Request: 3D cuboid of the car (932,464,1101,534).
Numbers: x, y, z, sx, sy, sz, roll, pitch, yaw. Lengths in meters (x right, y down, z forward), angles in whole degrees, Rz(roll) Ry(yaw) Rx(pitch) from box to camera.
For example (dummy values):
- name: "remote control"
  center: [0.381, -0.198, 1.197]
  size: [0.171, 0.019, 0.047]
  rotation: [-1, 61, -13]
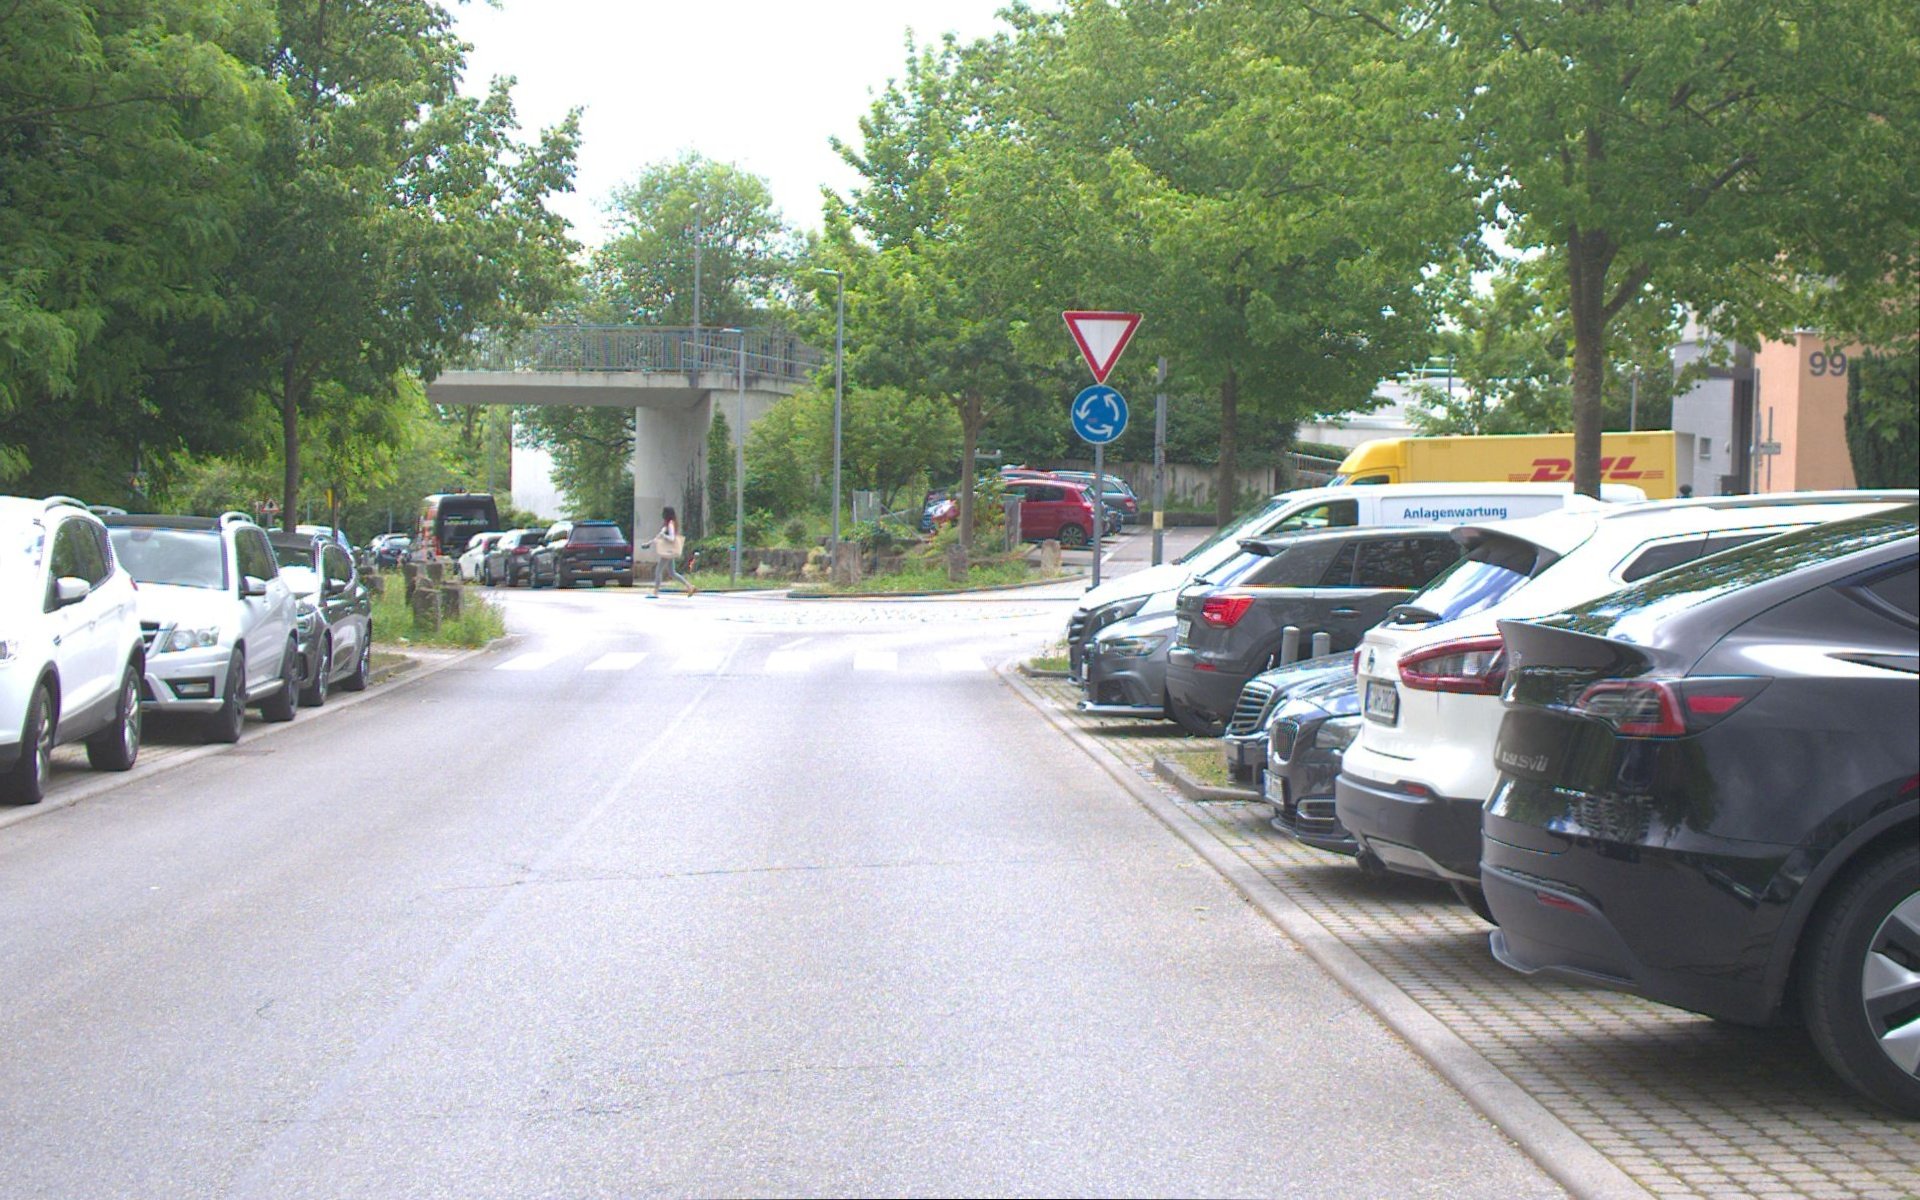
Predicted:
- name: "car"
  center: [1.365, -2.423, 82.710]
  size: [3.987, 1.608, 1.945]
  rotation: [1, 2, 2]

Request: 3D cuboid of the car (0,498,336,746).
- name: "car"
  center: [-6.024, 0.086, 26.023]
  size: [1.799, 1.610, 4.479]
  rotation: [4, 2, -1]

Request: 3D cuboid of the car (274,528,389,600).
- name: "car"
  center: [-13.828, -0.810, 75.525]
  size: [1.785, 1.463, 4.001]
  rotation: [0, 2, -21]

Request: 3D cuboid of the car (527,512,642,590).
- name: "car"
  center: [-9.232, -1.183, 84.269]
  size: [1.813, 1.673, 4.371]
  rotation: [-1, -2, -19]

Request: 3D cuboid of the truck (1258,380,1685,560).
- name: "truck"
  center: [8.592, -2.170, 58.297]
  size: [6.802, 2.693, 2.474]
  rotation: [2, 0, 1]

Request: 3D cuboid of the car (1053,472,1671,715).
- name: "car"
  center: [3.251, -0.077, 28.368]
  size: [4.773, 1.825, 1.843]
  rotation: [-1, 1, -3]

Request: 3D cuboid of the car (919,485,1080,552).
- name: "car"
  center: [0.938, -1.913, 80.391]
  size: [3.650, 1.493, 1.684]
  rotation: [1, 2, 4]

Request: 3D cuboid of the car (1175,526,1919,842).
- name: "car"
  center: [3.518, 0.376, 17.511]
  size: [4.574, 1.487, 1.952]
  rotation: [0, 1, -6]

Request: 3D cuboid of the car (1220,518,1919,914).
- name: "car"
  center: [3.126, 0.453, 14.528]
  size: [3.988, 1.514, 1.883]
  rotation: [1, 1, 5]

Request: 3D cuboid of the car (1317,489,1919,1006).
- name: "car"
  center: [3.157, 0.451, 11.864]
  size: [3.670, 1.641, 1.852]
  rotation: [0, 1, 1]

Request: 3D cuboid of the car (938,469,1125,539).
- name: "car"
  center: [1.783, -2.382, 85.283]
  size: [4.543, 1.662, 1.945]
  rotation: [1, 2, 2]

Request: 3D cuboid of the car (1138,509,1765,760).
- name: "car"
  center: [3.225, 0.200, 23.073]
  size: [3.824, 1.514, 1.912]
  rotation: [-1, 1, -4]

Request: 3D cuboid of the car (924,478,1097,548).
- name: "car"
  center: [1.123, -1.908, 75.246]
  size: [3.650, 1.434, 1.684]
  rotation: [1, 2, 4]

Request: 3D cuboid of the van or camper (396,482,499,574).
- name: "van or camper"
  center: [-15.116, -2.089, 101.167]
  size: [1.993, 2.514, 5.472]
  rotation: [-2, 1, -18]

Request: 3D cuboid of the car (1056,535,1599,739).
- name: "car"
  center: [2.653, 0.251, 25.510]
  size: [3.824, 1.366, 1.843]
  rotation: [-1, 1, 1]

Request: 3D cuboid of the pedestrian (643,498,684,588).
- name: "pedestrian"
  center: [-5.717, -1.095, 66.345]
  size: [0.658, 1.716, 0.739]
  rotation: [1, 1, 5]

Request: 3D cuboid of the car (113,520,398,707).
- name: "car"
  center: [-6.310, 0.064, 31.252]
  size: [1.689, 1.460, 4.457]
  rotation: [4, 1, -1]

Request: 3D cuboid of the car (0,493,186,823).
- name: "car"
  center: [-5.925, 0.220, 20.076]
  size: [1.807, 1.659, 4.437]
  rotation: [4, 2, -1]

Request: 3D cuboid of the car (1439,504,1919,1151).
- name: "car"
  center: [3.215, 0.538, 9.117]
  size: [3.670, 1.569, 1.593]
  rotation: [0, 1, 1]

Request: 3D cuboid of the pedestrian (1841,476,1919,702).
- name: "pedestrian"
  center: [6.980, -0.089, 25.493]
  size: [0.688, 1.651, 0.600]
  rotation: [1, 1, -2]

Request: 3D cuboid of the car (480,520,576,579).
- name: "car"
  center: [-11.396, -1.318, 90.454]
  size: [1.699, 1.491, 4.120]
  rotation: [-1, 1, -19]
